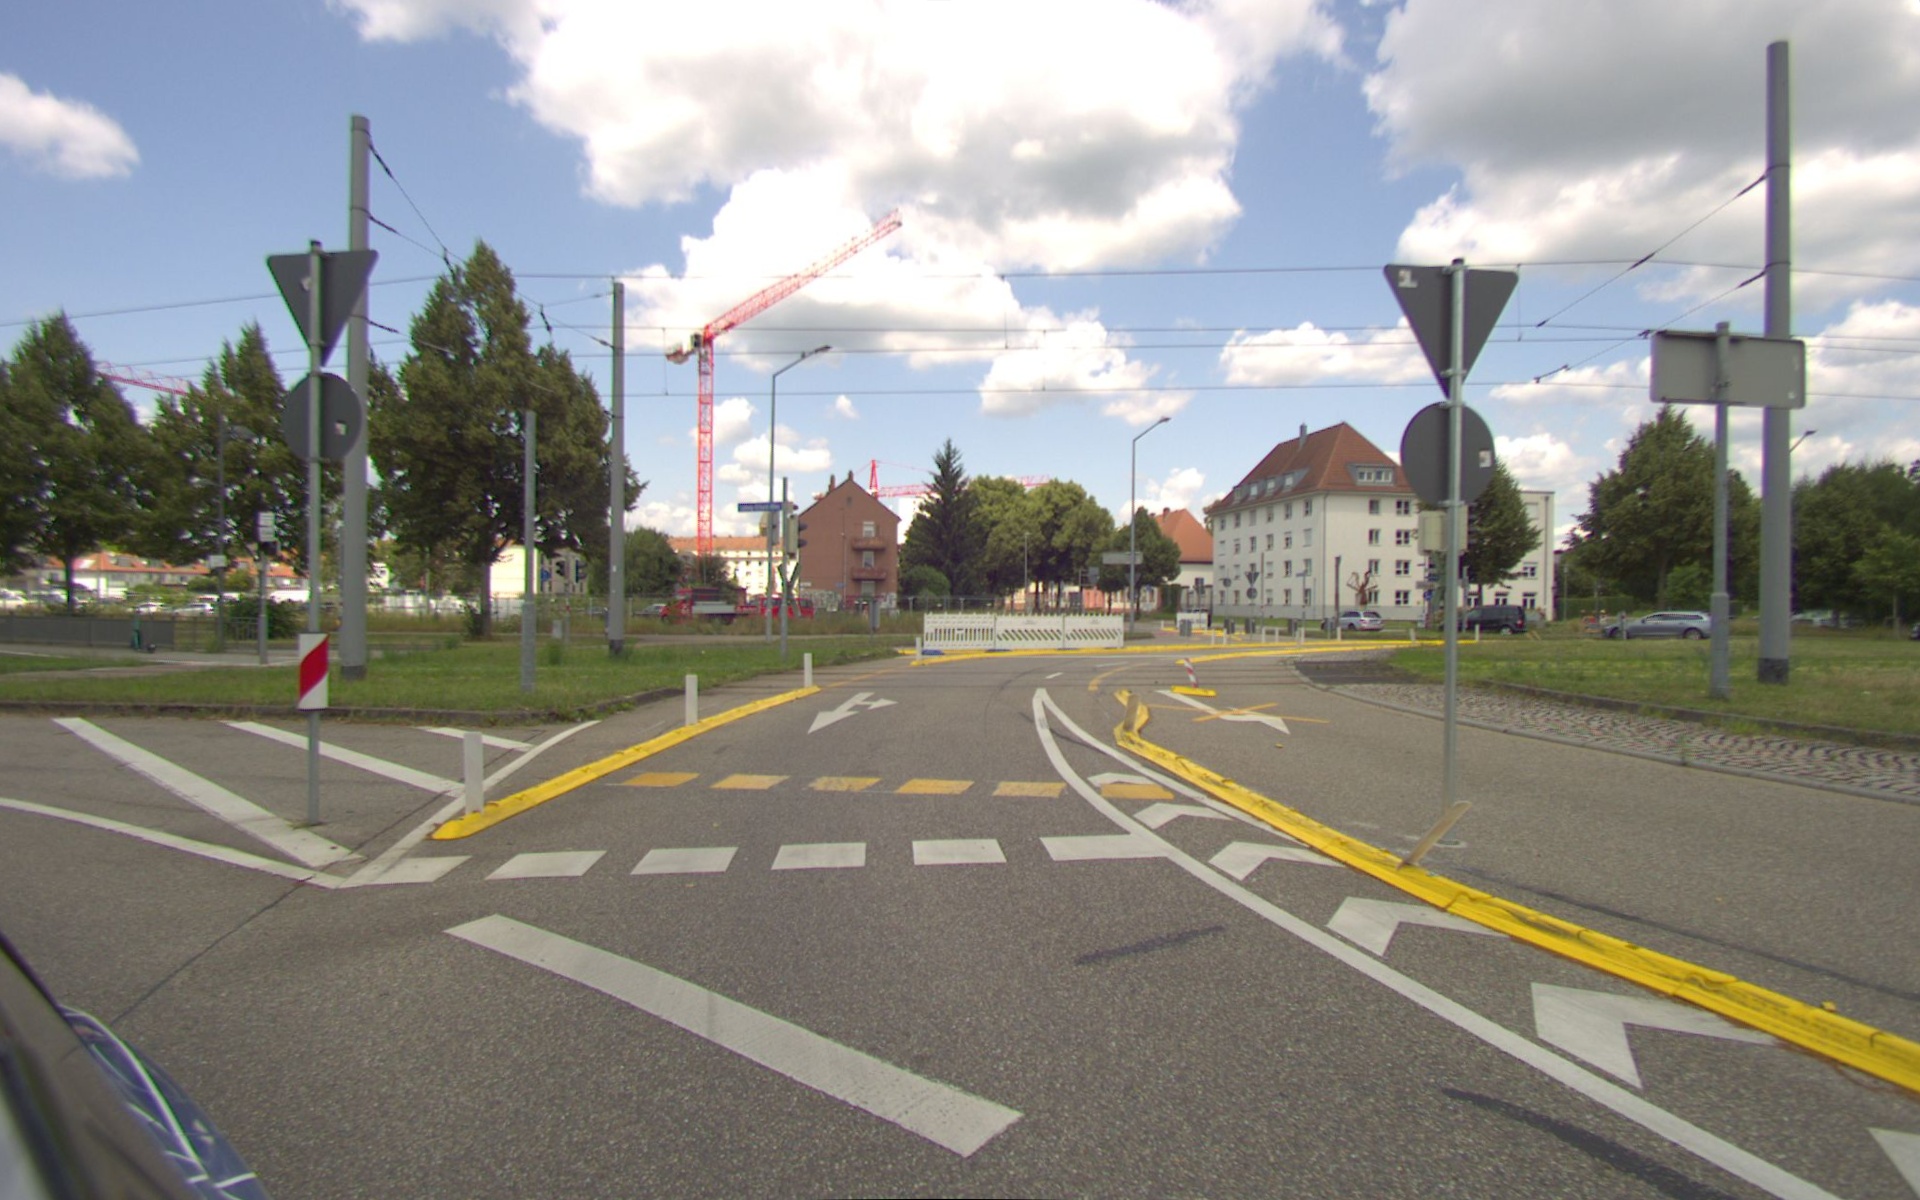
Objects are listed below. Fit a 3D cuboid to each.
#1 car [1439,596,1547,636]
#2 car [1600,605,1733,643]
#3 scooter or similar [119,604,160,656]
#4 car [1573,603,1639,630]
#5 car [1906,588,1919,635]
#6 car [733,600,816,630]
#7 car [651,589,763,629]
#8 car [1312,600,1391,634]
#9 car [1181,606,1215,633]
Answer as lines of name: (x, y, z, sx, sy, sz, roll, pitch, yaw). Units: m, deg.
car: (28.538, 0.839, 54.343, 1.968, 2.029, 4.735, 0, 0, -38)
car: (33.636, 1.106, 48.272, 4.944, 1.638, 2.037, 0, 1, 43)
scooter or similar: (-22.141, 0.787, 27.293, 1.341, 1.311, 0.415, 3, 1, 31)
car: (48.378, 1.224, 75.828, 3.932, 2.029, 2.006, 0, 0, -15)
car: (36.347, 0.397, 34.910, 5.045, 1.687, 1.982, 0, 0, 27)
car: (-11.947, 0.955, 64.974, 5.163, 1.866, 2.067, 0, 0, 30)
car: (-14.696, 0.501, 58.580, 6.820, 2.214, 2.367, 0, 0, 34)
car: (24.013, 1.022, 62.233, 1.966, 2.029, 4.740, 0, 0, -18)
car: (18.697, 1.526, 79.590, 1.975, 2.029, 4.718, 0, 0, 5)
